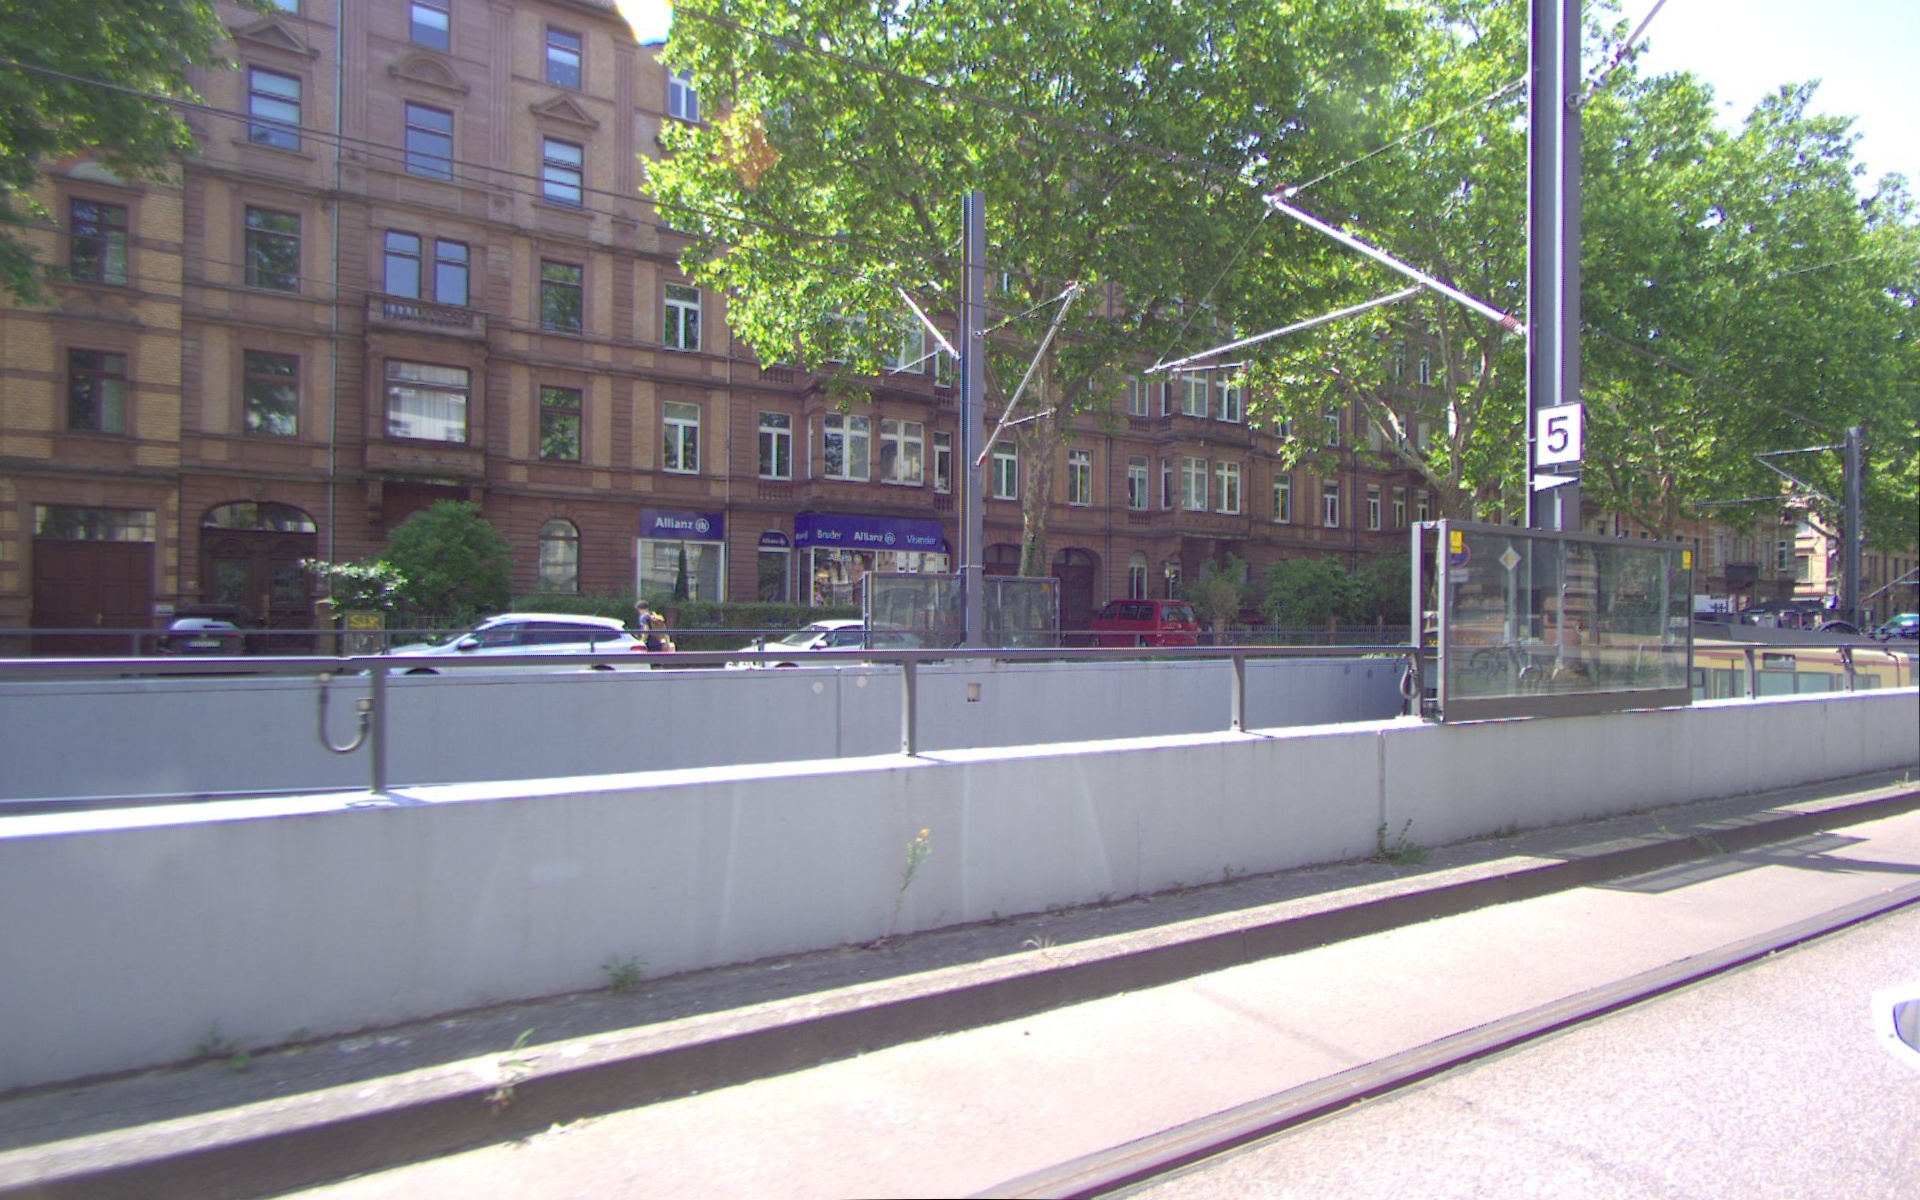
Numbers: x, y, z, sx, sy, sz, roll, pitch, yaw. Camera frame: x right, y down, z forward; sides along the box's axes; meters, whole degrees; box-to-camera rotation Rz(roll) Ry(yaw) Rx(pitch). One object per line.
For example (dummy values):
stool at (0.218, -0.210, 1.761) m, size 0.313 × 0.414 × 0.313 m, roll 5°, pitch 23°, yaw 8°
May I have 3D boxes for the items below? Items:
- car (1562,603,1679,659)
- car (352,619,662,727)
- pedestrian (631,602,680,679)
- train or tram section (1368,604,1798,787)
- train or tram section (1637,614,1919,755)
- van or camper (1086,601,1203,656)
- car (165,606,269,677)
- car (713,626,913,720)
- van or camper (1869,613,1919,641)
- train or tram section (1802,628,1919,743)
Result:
car at (23.888, 1.097, 36.307) m, size 4.101 × 1.930 × 1.983 m, roll 1°, pitch -1°, yaw -31°
car at (-7.757, 1.229, 17.370) m, size 4.664 × 1.645 × 1.984 m, roll 1°, pitch -5°, yaw -31°
pedestrian at (-5.795, 0.759, 19.126) m, size 0.717 × 1.445 × 0.515 m, roll 1°, pitch 0°, yaw 20°
train or tram section at (10.949, 1.410, 17.329) m, size 8.416 × 2.542 × 2.716 m, roll 1°, pitch -1°, yaw -30°
train or tram section at (17.990, 1.618, 21.459) m, size 7.909 × 2.542 × 2.716 m, roll 1°, pitch -1°, yaw -30°
van or camper at (6.499, 0.986, 35.871) m, size 1.905 × 1.861 × 4.532 m, roll 1°, pitch -1°, yaw -24°
car at (-16.281, 0.877, 22.156) m, size 1.635 × 1.444 × 3.460 m, roll 1°, pitch -1°, yaw -34°
car at (-2.935, 1.391, 20.256) m, size 3.665 × 1.707 × 1.645 m, roll 1°, pitch 0°, yaw -31°
van or camper at (71.491, 2.025, 75.767) m, size 1.978 × 2.040 × 3.965 m, roll 1°, pitch -1°, yaw -32°
train or tram section at (24.964, 2.032, 25.594) m, size 8.391 × 2.542 × 2.716 m, roll 1°, pitch -1°, yaw -30°
